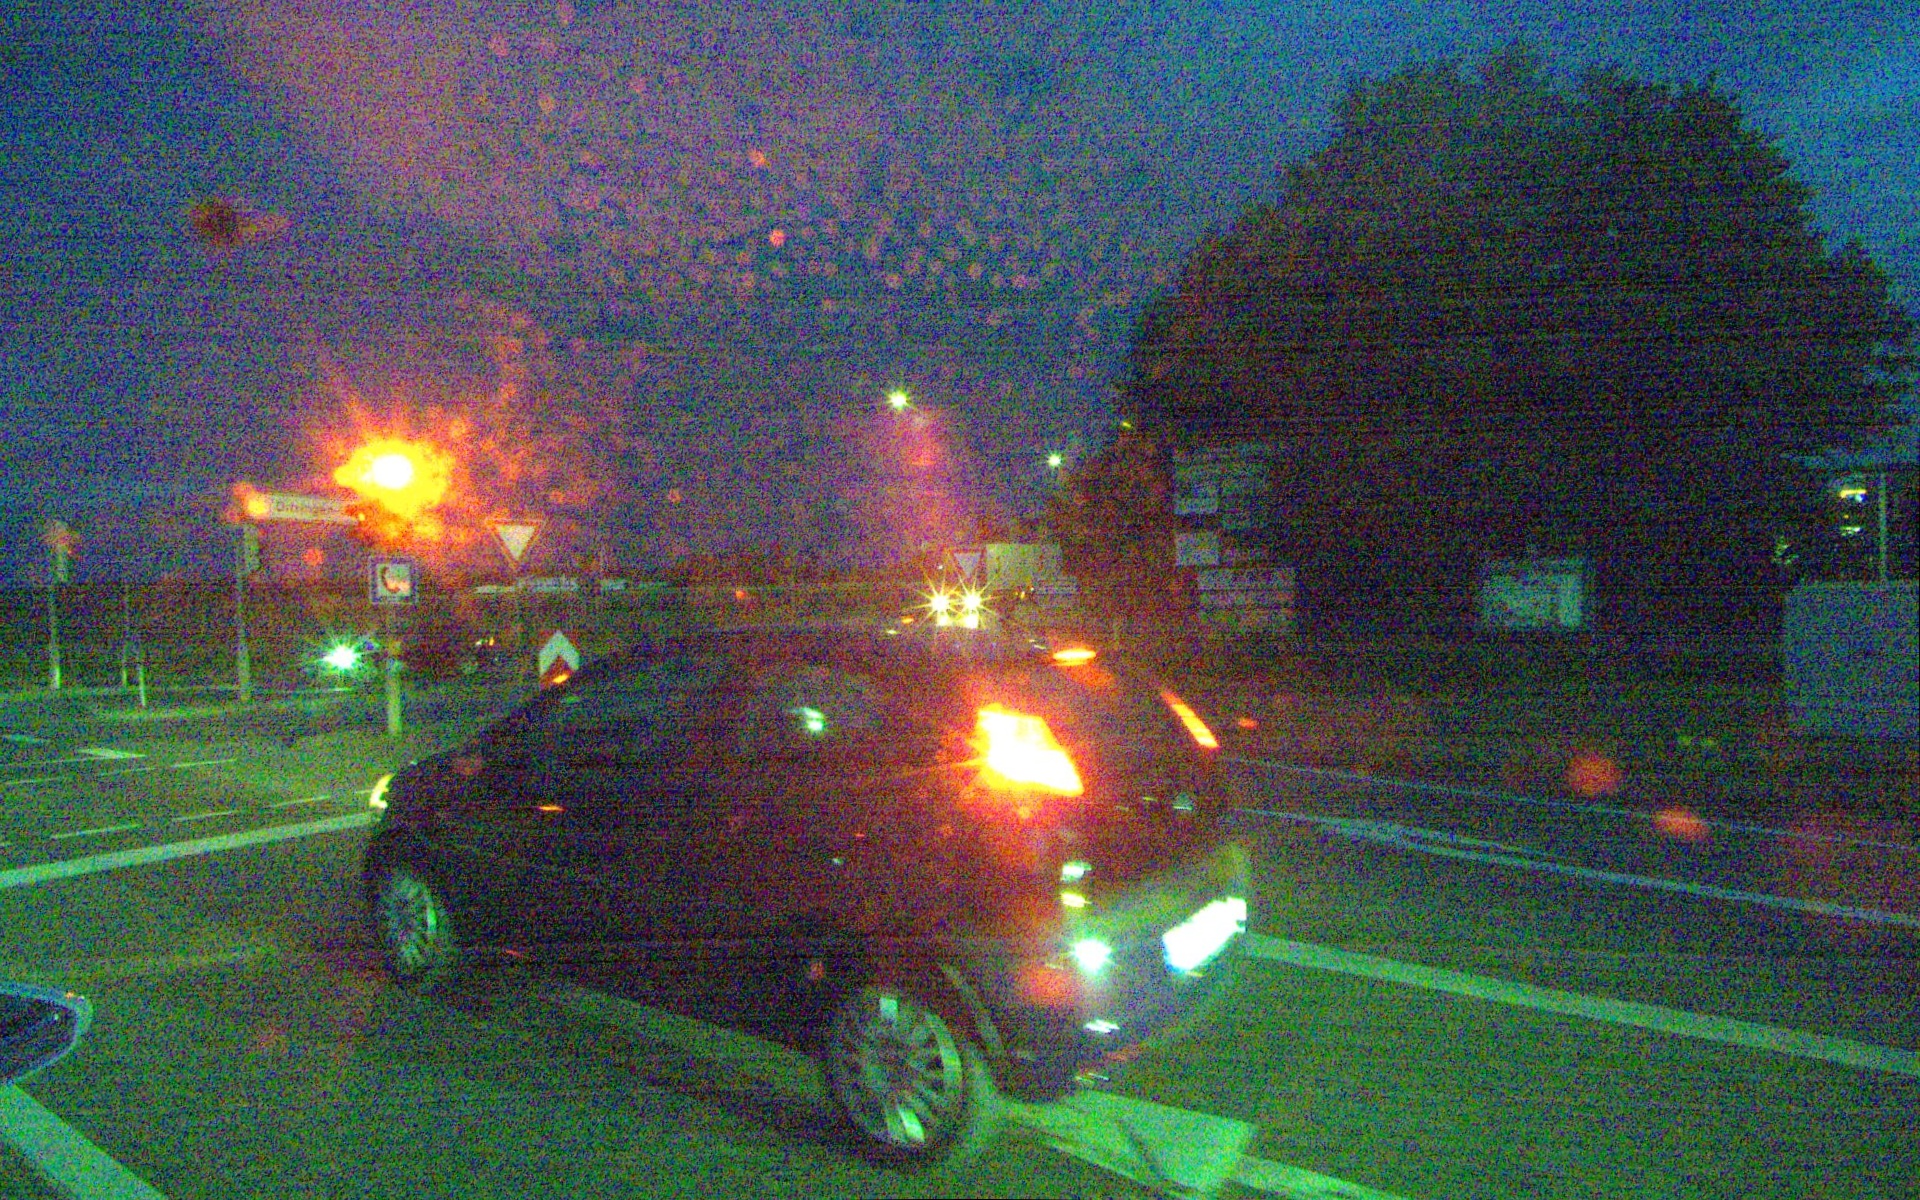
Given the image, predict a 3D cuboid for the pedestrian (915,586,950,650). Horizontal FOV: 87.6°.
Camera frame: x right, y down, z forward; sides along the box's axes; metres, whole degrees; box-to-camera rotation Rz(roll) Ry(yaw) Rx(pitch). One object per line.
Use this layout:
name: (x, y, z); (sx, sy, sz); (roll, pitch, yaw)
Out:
pedestrian: (-0.833, 0.524, 30.282); (0.861, 1.859, 0.731); (-3, 1, 6)

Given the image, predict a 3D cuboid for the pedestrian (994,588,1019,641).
pedestrian: (1.700, 0.518, 36.607); (0.860, 1.925, 0.660); (-1, 1, 6)

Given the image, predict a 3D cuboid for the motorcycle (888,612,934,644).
motorcycle: (-1.829, 1.044, 37.694); (0.964, 1.113, 2.504); (0, 0, 16)

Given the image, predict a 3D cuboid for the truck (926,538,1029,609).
truck: (1.283, -1.592, 62.565); (2.875, 4.033, 10.042); (-1, 1, 23)

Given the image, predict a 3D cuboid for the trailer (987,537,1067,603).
trailer: (4.905, -2.185, 71.153); (2.875, 4.361, 9.043); (-1, 3, 22)

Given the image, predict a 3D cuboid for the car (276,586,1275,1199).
car: (-0.976, 0.779, 4.115); (4.049, 1.540, 1.666); (-1, -1, 34)

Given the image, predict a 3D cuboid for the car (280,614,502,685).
car: (-14.584, 1.190, 25.935); (1.972, 1.541, 4.589); (0, 1, 33)

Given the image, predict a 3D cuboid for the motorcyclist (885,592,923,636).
motorcyclist: (-2.106, 0.518, 37.680); (1.120, 1.606, 0.971); (0, 1, 17)
